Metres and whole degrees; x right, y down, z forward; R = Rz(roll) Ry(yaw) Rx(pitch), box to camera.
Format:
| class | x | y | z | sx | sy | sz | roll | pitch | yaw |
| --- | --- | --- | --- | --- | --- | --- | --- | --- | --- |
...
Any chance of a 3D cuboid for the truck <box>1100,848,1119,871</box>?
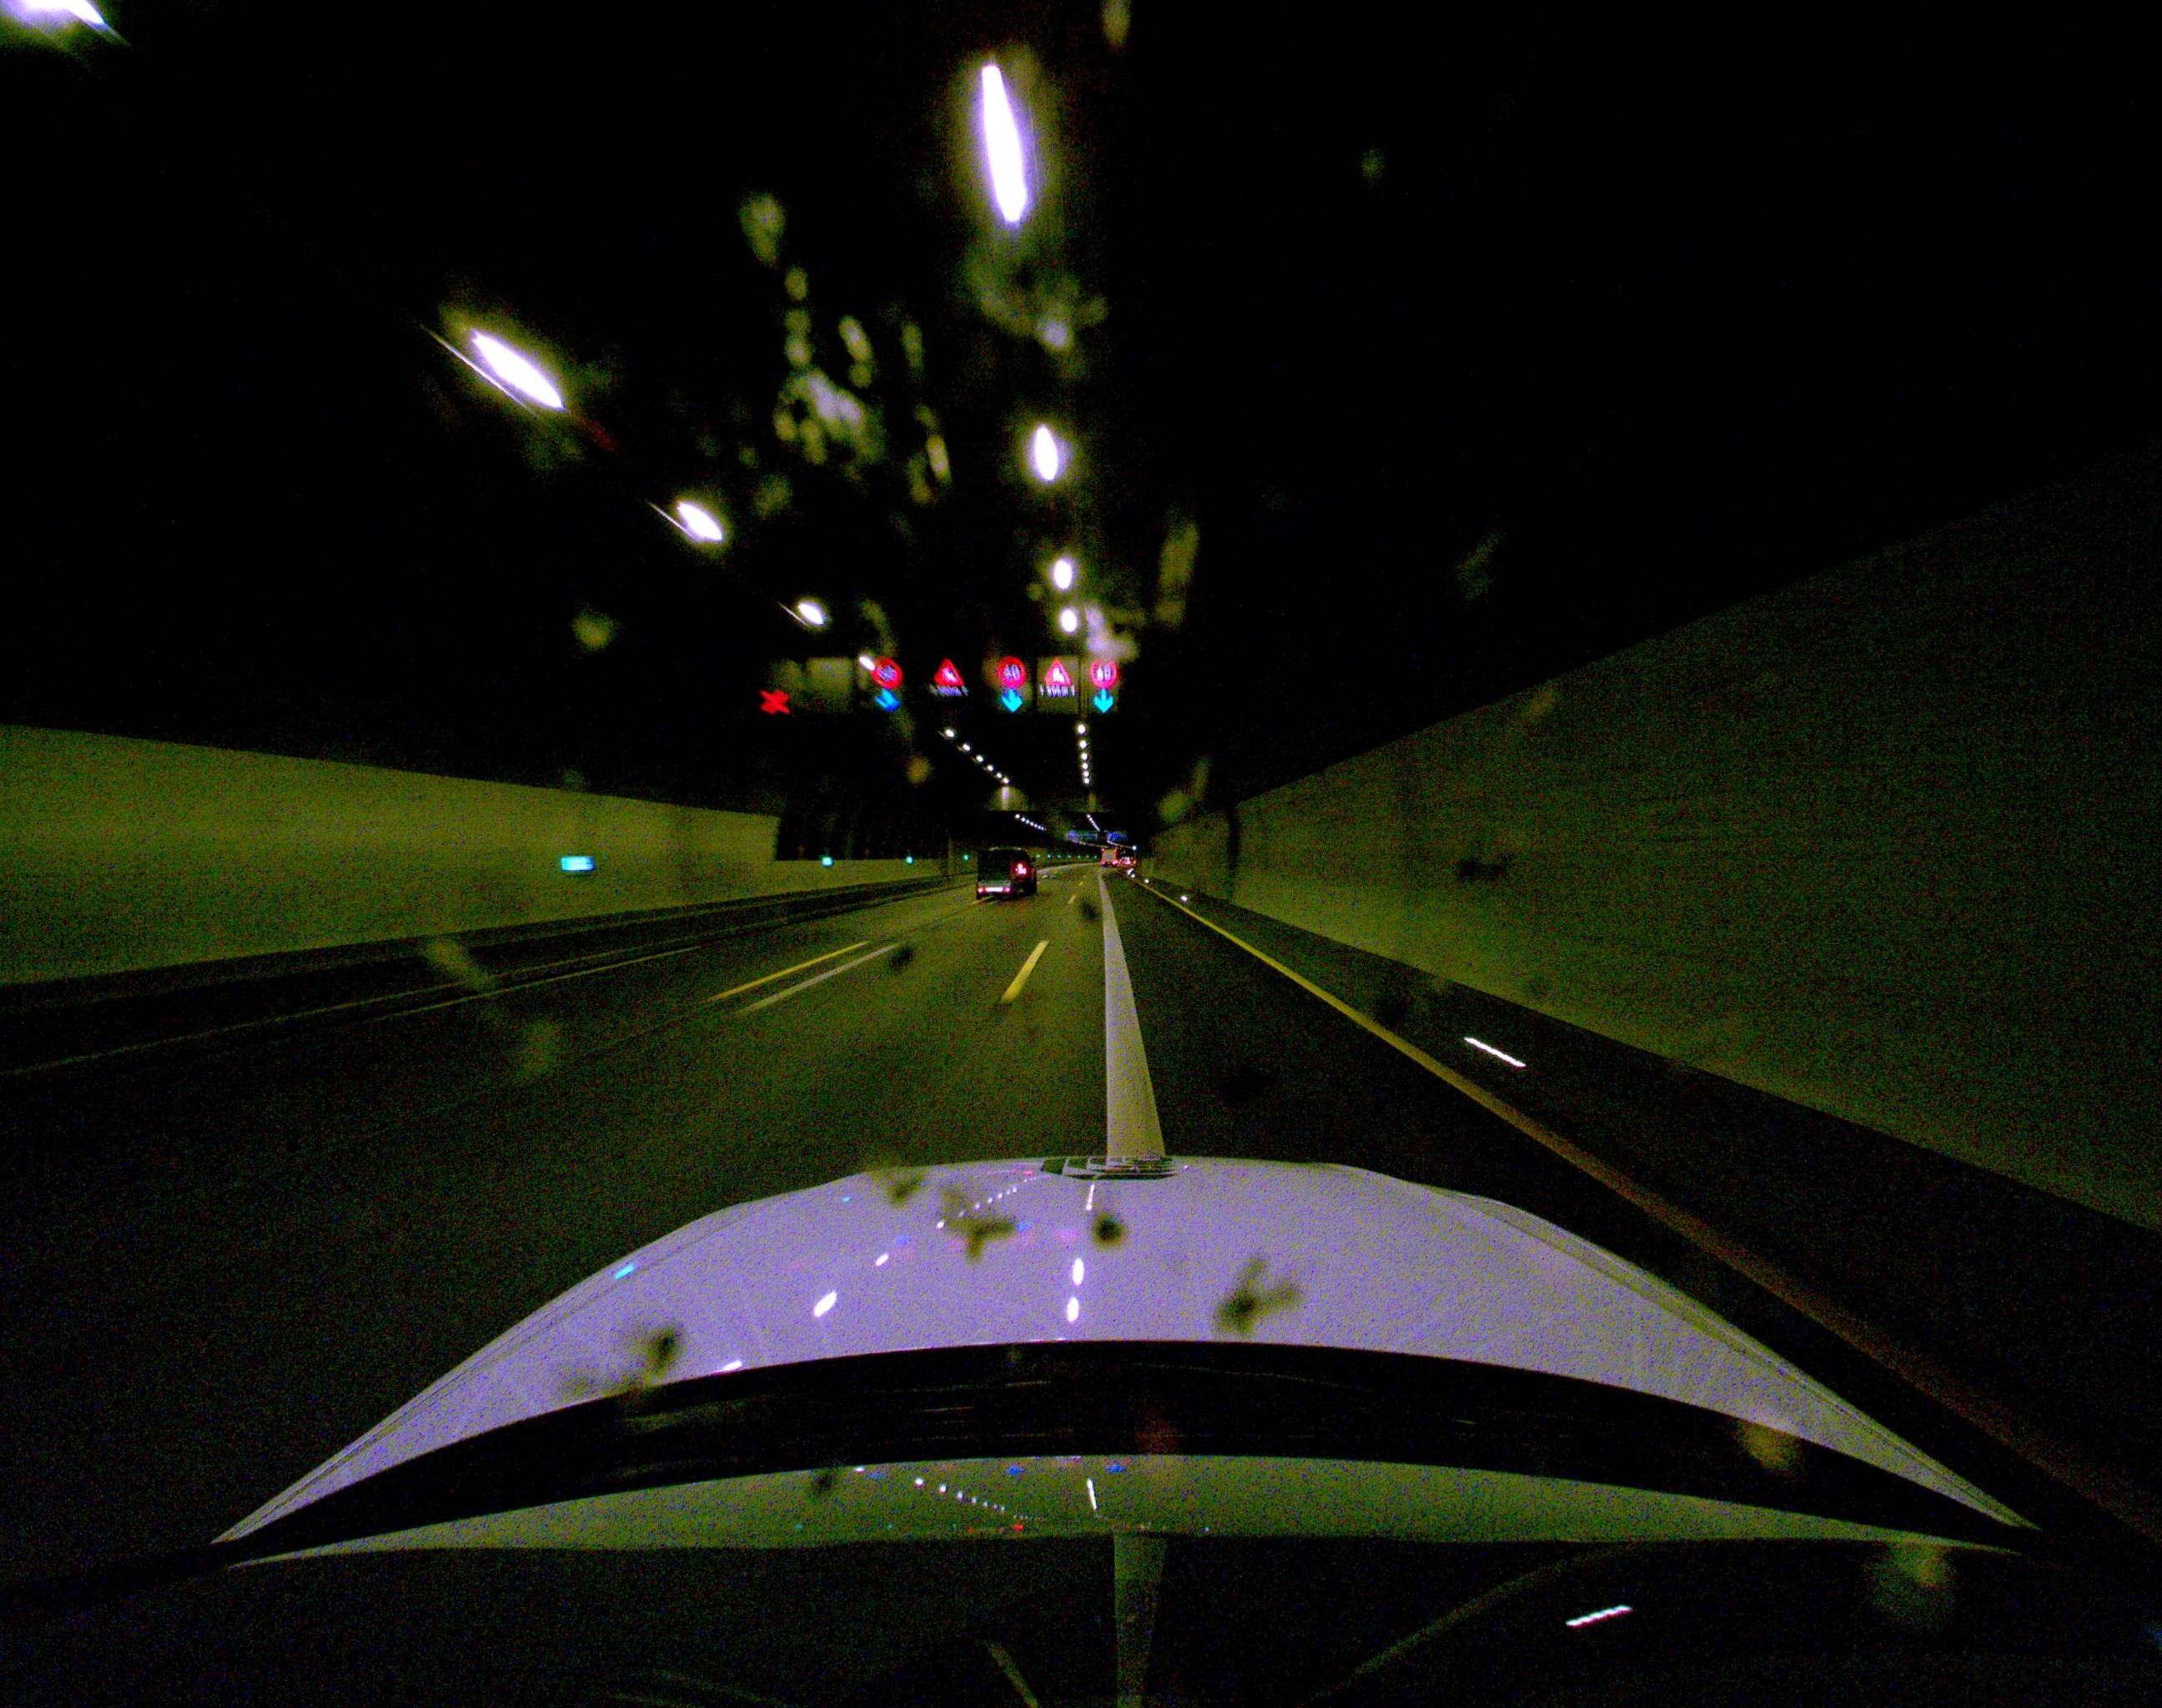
| class | x | y | z | sx | sy | sz | roll | pitch | yaw |
| --- | --- | --- | --- | --- | --- | --- | --- | --- | --- |
| truck | 5.641 | 1.070 | 162.528 | 3.462 | 4.316 | 10.953 | 1 | 0 | 1 |

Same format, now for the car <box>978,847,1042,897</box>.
| class | x | y | z | sx | sy | sz | roll | pitch | yaw |
| --- | --- | --- | --- | --- | --- | --- | --- | --- | --- |
| car | -2.880 | 0.698 | 34.091 | 1.986 | 1.895 | 5.456 | 0 | 0 | 2 |

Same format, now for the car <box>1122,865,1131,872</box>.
| class | x | y | z | sx | sy | sz | roll | pitch | yaw |
| --- | --- | --- | --- | --- | --- | --- | --- | --- | --- |
| car | 12.458 | 3.945 | 222.528 | 1.983 | 1.895 | 5.542 | 0 | 0 | 6 |
